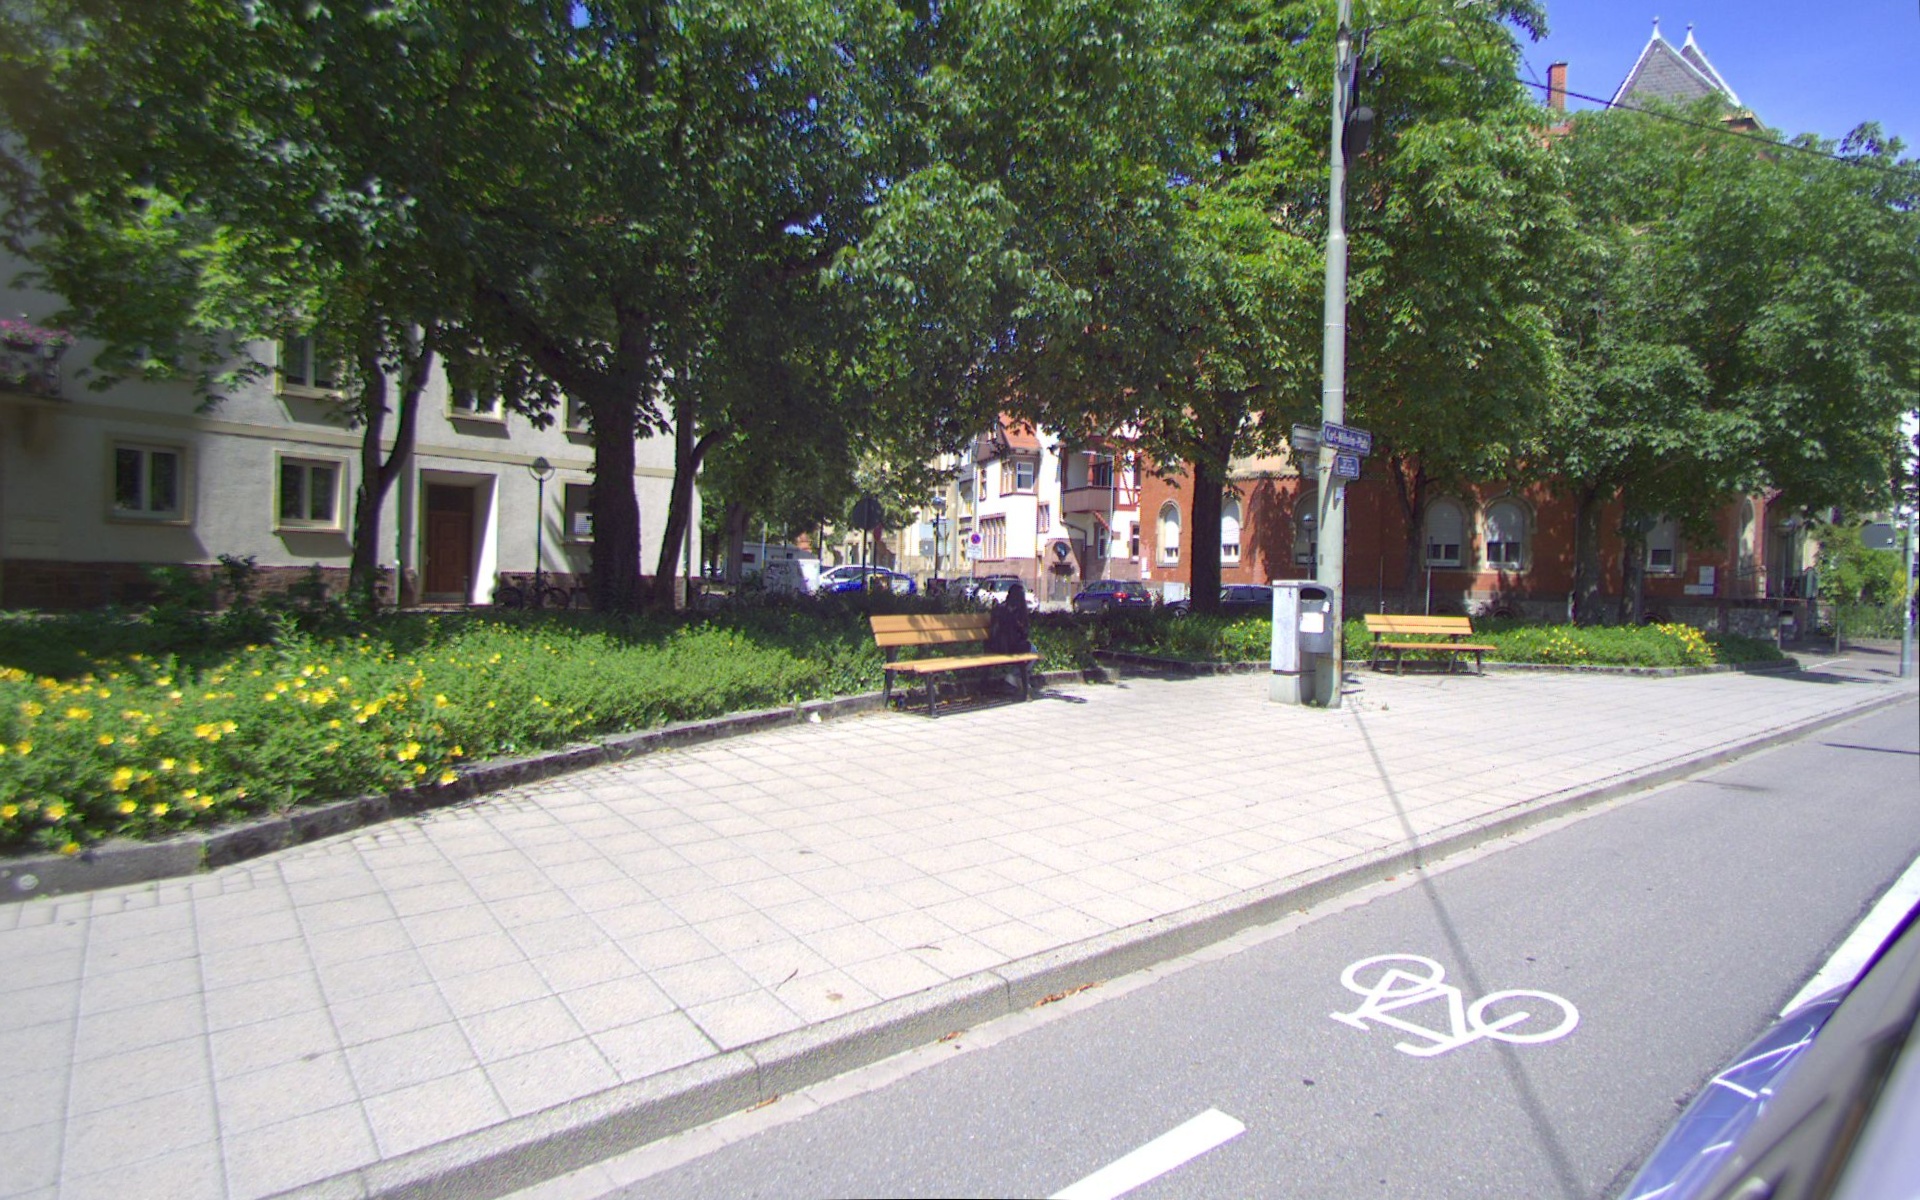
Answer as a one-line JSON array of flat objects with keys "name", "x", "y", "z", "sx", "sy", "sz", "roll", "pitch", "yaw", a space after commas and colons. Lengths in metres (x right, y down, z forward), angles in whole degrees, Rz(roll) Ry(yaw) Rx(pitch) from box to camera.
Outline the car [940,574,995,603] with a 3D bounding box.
[{"name": "car", "x": 0.373, "y": -0.658, "z": 58.680, "sx": 1.897, "sy": 1.638, "sz": 4.318, "roll": 0, "pitch": 0, "yaw": -19}]

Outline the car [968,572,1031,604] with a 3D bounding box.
[{"name": "car", "x": 2.059, "y": -0.623, "z": 54.073, "sx": 1.897, "sy": 1.638, "sz": 4.318, "roll": 0, "pitch": 0, "yaw": -19}]

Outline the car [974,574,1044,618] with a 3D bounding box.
[{"name": "car", "x": 1.794, "y": -0.171, "z": 38.148, "sx": 1.670, "sy": 1.525, "sz": 3.659, "roll": 2, "pitch": 1, "yaw": -13}]

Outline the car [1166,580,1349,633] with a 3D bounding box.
[{"name": "car", "x": 8.977, "y": 0.161, "z": 30.758, "sx": 5.004, "sy": 1.501, "sz": 1.913, "roll": 0, "pitch": 0, "yaw": 36}]

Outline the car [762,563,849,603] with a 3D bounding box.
[{"name": "car", "x": -8.091, "y": -0.887, "z": 52.936, "sx": 4.219, "sy": 2.029, "sz": 1.942, "roll": 0, "pitch": 0, "yaw": -18}]

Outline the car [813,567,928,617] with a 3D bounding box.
[{"name": "car", "x": -3.551, "y": -0.325, "z": 40.014, "sx": 4.219, "sy": 1.903, "sz": 1.942, "roll": 0, "pitch": 0, "yaw": -18}]

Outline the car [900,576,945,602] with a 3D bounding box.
[{"name": "car", "x": -2.573, "y": -0.732, "z": 67.947, "sx": 1.897, "sy": 1.638, "sz": 4.318, "roll": 0, "pitch": 0, "yaw": -19}]

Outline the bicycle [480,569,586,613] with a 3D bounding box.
[{"name": "bicycle", "x": -10.260, "y": -0.224, "z": 24.374, "sx": 2.230, "sy": 1.024, "sz": 0.751, "roll": -1, "pitch": 0, "yaw": -41}]

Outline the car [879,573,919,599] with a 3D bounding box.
[{"name": "car", "x": -4.509, "y": -1.011, "z": 74.460, "sx": 1.897, "sy": 1.897, "sz": 4.318, "roll": 0, "pitch": 0, "yaw": -19}]

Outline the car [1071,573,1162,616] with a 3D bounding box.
[{"name": "car", "x": 6.268, "y": -0.235, "z": 41.024, "sx": 1.897, "sy": 1.638, "sz": 4.318, "roll": 0, "pitch": 0, "yaw": -19}]

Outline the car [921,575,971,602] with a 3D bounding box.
[{"name": "car", "x": -0.925, "y": -0.695, "z": 63.251, "sx": 1.897, "sy": 1.638, "sz": 4.318, "roll": 0, "pitch": 0, "yaw": -19}]

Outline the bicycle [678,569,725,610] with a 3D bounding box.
[{"name": "bicycle", "x": -6.783, "y": -0.261, "z": 26.473, "sx": 0.736, "sy": 1.024, "sz": 2.273, "roll": 0, "pitch": 0, "yaw": -26}]

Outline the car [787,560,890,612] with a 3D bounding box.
[{"name": "car", "x": -5.379, "y": -0.631, "z": 44.827, "sx": 4.219, "sy": 2.219, "sz": 1.942, "roll": 0, "pitch": 0, "yaw": -18}]

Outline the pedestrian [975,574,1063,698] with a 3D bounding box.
[{"name": "pedestrian", "x": 0.591, "y": 0.336, "z": 10.073, "sx": 0.562, "sy": 1.156, "sz": 0.718, "roll": 3, "pitch": 2, "yaw": 33}]

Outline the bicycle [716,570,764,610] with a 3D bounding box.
[{"name": "bicycle", "x": -5.875, "y": -0.270, "z": 26.902, "sx": 0.736, "sy": 1.024, "sz": 2.273, "roll": 0, "pitch": 0, "yaw": -26}]
